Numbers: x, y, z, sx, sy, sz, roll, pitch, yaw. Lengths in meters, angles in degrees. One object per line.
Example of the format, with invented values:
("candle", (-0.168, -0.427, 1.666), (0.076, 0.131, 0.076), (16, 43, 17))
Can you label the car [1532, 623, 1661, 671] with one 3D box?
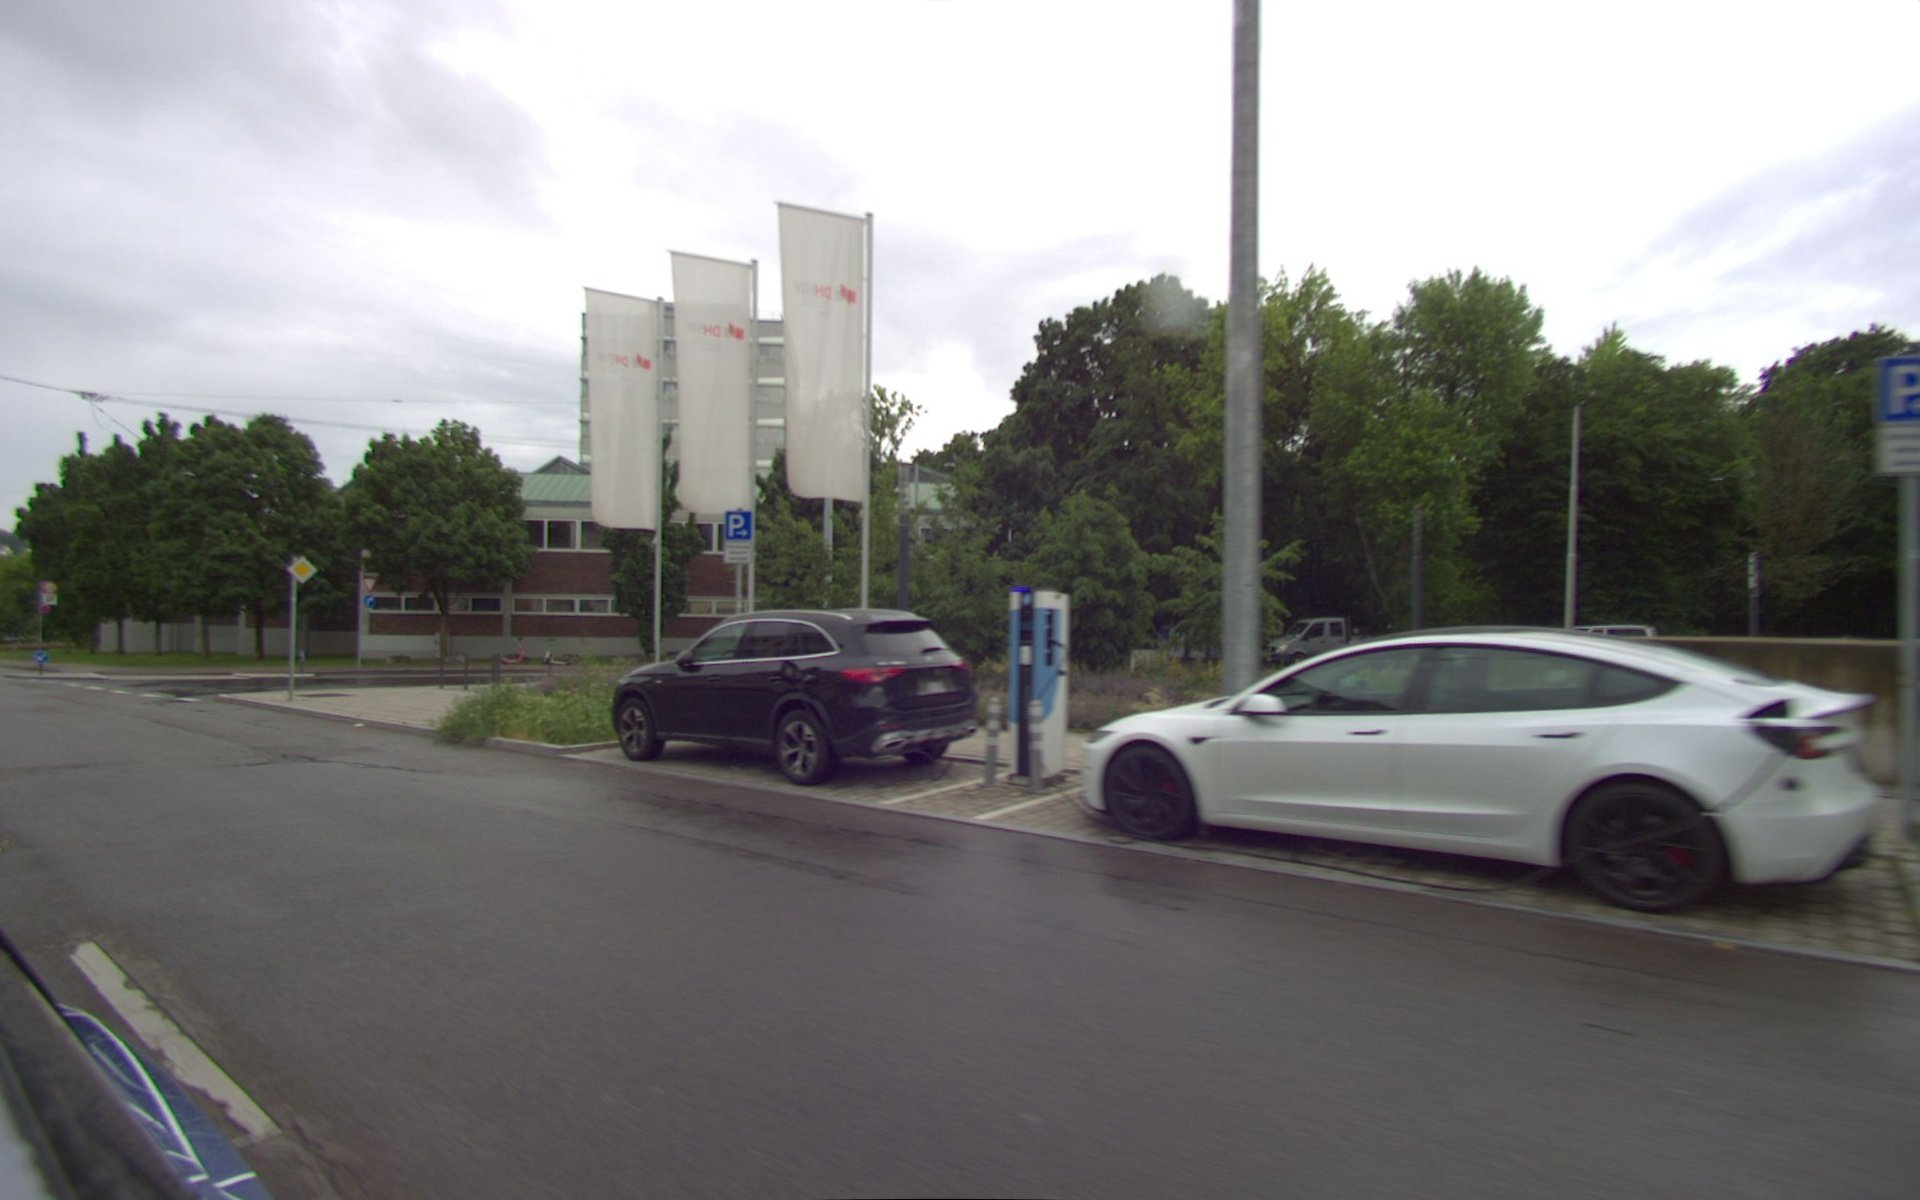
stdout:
("car", (29.578, 2.141, 47.107), (4.761, 2.113, 2.173), (0, -1, -8))

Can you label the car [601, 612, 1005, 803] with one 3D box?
("car", (-1.844, 0.983, 10.898), (4.488, 1.630, 1.830), (-2, -1, 41))

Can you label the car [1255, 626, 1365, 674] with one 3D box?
("car", (15.944, 2.259, 46.192), (4.216, 2.058, 2.078), (-1, -1, -3))

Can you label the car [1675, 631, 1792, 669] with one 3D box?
("car", (36.205, 2.321, 47.419), (4.211, 1.619, 1.934), (0, -1, -8))

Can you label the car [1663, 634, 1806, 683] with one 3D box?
("car", (29.457, 2.209, 38.567), (3.943, 1.753, 1.921), (-1, -1, -1))

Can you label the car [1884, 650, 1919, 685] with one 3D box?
("car", (38.012, 2.584, 39.025), (3.352, 1.250, 1.481), (-1, -1, -1))

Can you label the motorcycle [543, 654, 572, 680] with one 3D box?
("motorcycle", (-18.354, 3.056, 46.160), (1.151, 1.133, 0.414), (1, -1, -12))

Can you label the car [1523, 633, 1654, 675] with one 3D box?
("car", (23.526, 2.011, 37.955), (3.813, 1.461, 1.669), (-1, -1, -1))

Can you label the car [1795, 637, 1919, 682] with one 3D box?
("car", (34.440, 2.255, 38.593), (3.626, 1.600, 1.806), (-1, -1, -1))

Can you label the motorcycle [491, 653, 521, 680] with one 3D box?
("motorcycle", (-20.634, 3.010, 45.983), (1.207, 1.194, 0.414), (0, -1, -12))

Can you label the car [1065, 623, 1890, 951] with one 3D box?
("car", (3.014, 0.889, 6.617), (4.399, 1.429, 1.802), (-2, -1, 41))
